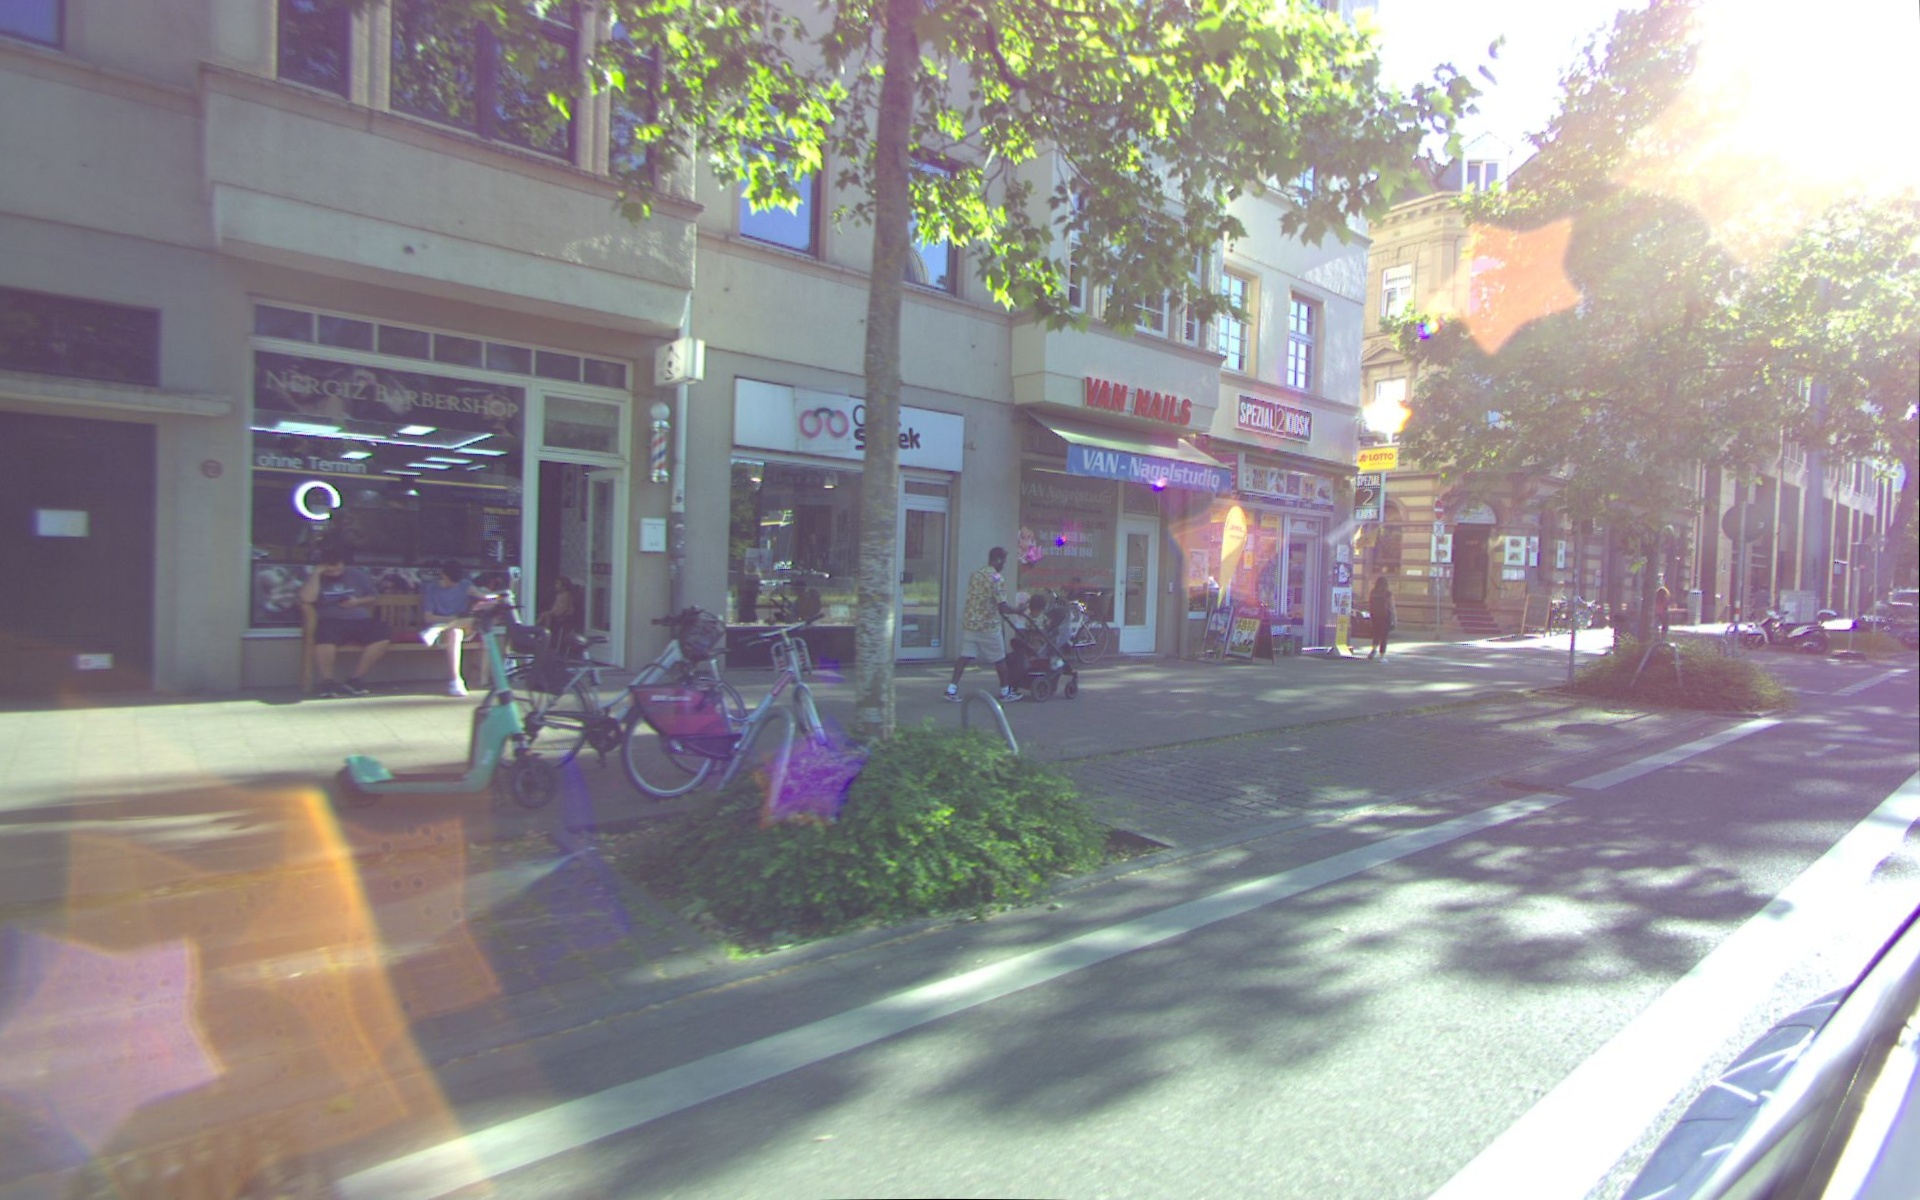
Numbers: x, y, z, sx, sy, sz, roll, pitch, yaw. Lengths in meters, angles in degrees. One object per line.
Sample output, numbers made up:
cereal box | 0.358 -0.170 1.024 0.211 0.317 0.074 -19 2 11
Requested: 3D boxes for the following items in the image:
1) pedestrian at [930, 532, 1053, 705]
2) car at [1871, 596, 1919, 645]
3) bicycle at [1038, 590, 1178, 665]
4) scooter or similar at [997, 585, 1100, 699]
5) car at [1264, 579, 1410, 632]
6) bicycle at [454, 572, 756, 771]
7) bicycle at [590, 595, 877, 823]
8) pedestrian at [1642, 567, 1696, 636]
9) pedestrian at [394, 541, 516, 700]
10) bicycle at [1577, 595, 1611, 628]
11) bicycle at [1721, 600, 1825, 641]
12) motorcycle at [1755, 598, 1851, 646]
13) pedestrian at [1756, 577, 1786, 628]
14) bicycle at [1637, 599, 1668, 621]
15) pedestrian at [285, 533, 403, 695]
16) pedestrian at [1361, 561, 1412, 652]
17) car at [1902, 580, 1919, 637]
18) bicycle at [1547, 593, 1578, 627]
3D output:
pedestrian | 0.336 0.169 10.814 0.901 1.725 0.860 0 4 -43
car | 31.283 0.632 33.029 4.627 1.534 1.821 0 0 -42
bicycle | 2.294 0.384 15.378 2.577 1.036 0.491 0 5 -41
scooter or similar | 1.001 0.445 11.466 0.835 1.186 0.745 0 4 -44
car | 11.375 0.133 30.775 1.605 1.429 3.923 1 1 -35
bicycle | -2.325 0.442 6.740 1.834 1.222 0.387 1 0 -22
bicycle | -1.381 0.610 6.484 1.872 1.229 0.392 -2 4 -45
pedestrian | 21.429 0.027 30.585 1.027 2.039 1.090 0 1 -40
pedestrian | -4.686 0.159 9.380 0.841 1.386 0.787 0 2 -40
bicycle | 20.531 0.356 32.775 1.850 1.010 0.415 0 1 -41
bicycle | 22.903 0.553 28.556 0.447 1.107 2.227 0 0 -39
motorcycle | 22.787 0.572 27.396 0.507 1.246 1.951 0 0 -43
pedestrian | 29.933 0.087 37.347 0.878 1.850 0.645 0 0 -35
bicycle | 25.868 0.357 37.783 1.634 0.783 0.550 0 3 -41
pedestrian | -5.414 0.105 8.899 0.806 1.349 0.536 0 2 -40
pedestrian | 7.888 0.114 18.731 0.553 1.642 0.682 1 0 -43
car | 36.864 0.299 37.875 4.641 2.039 1.859 0 0 -41
bicycle | 18.917 0.317 31.777 1.700 1.033 0.280 0 3 -41
